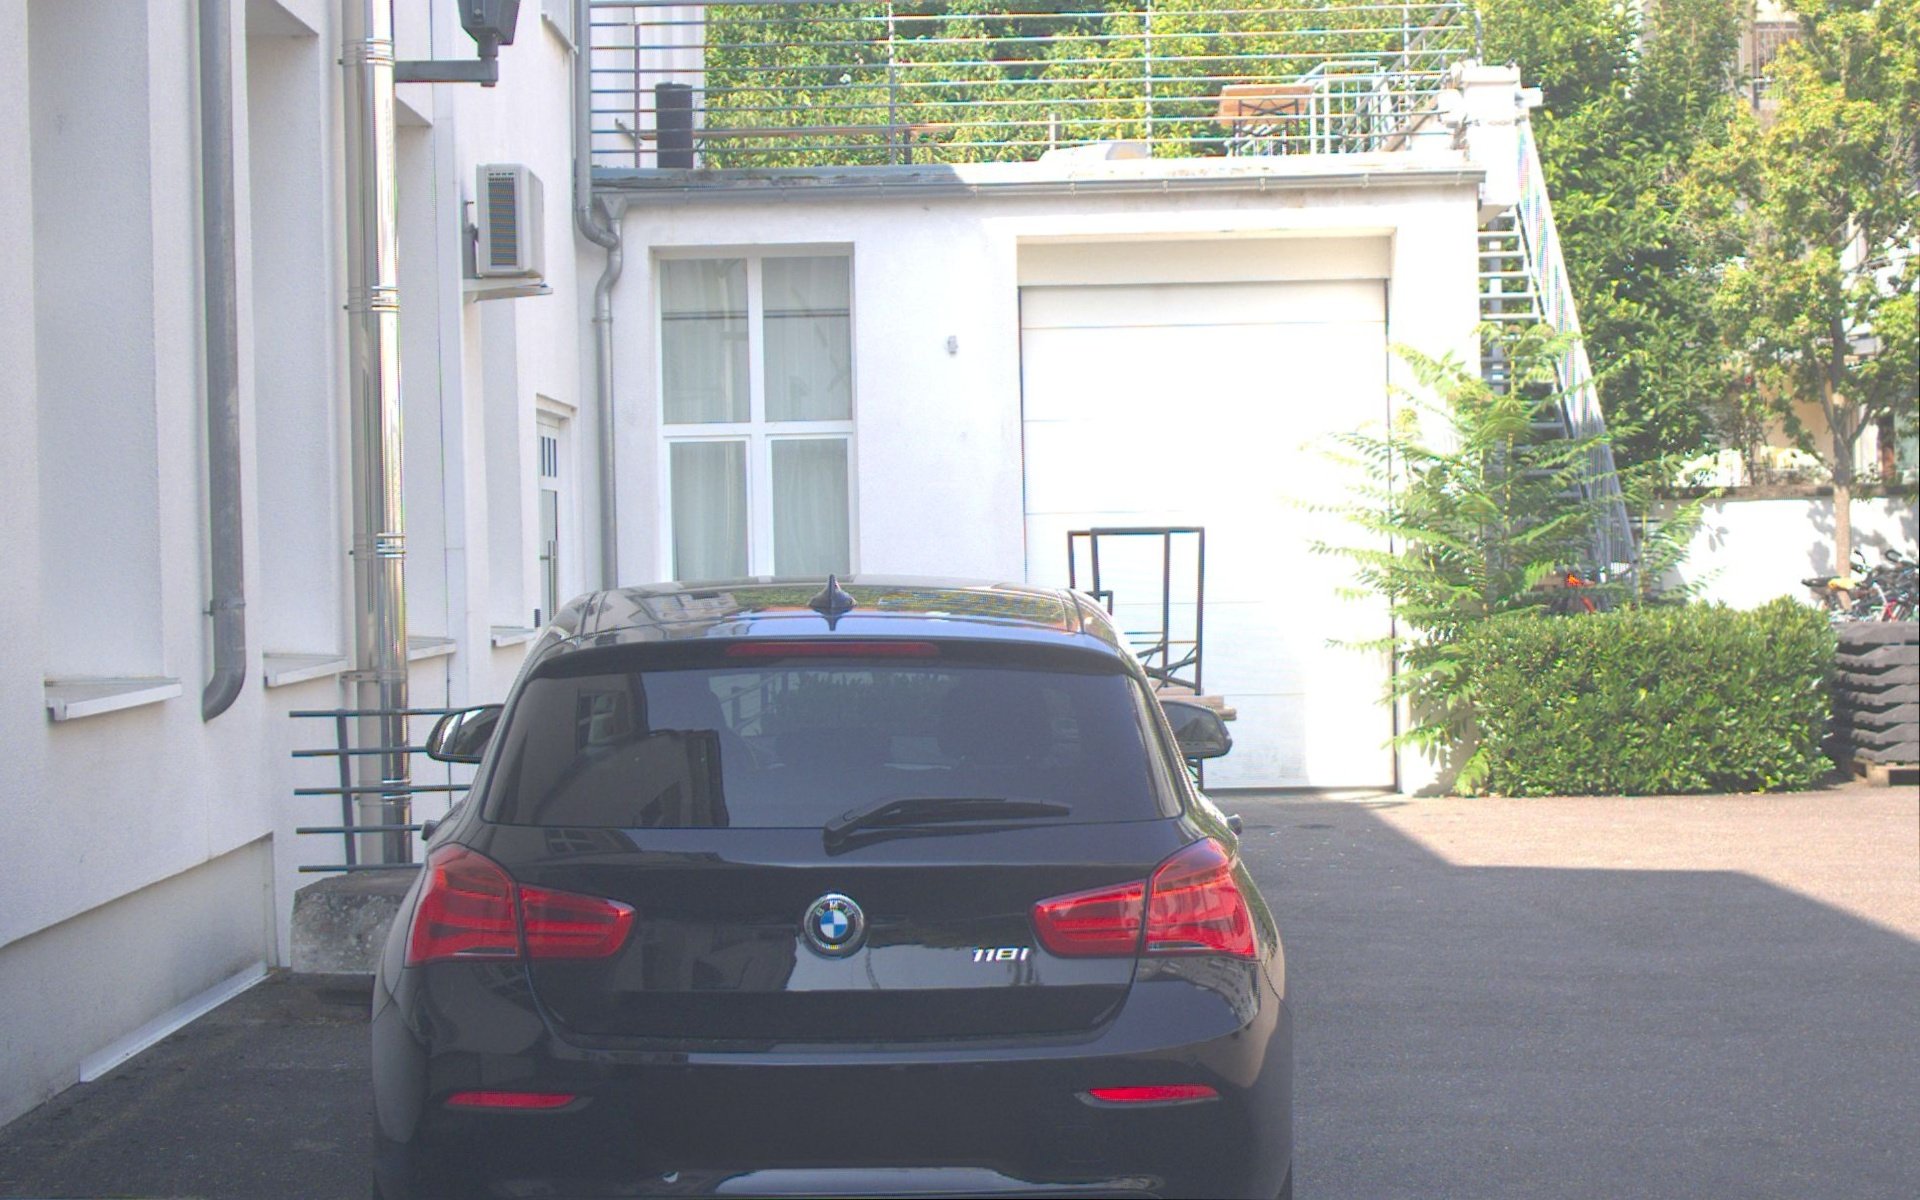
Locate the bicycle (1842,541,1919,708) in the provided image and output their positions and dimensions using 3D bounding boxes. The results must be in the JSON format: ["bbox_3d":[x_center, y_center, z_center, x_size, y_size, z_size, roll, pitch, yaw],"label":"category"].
[{"bbox_3d":[7.908,0.172,25.862,2.411,1.242,0.526,0,1,1],"label":"bicycle"}]

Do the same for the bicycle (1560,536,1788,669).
[{"bbox_3d":[6.638,0.018,31.999,1.987,1.140,0.490,-2,2,-3],"label":"bicycle"}]

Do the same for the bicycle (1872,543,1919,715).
[{"bbox_3d":[7.938,0.198,25.100,2.411,1.242,0.526,0,1,1],"label":"bicycle"}]

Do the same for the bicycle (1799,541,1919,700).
[{"bbox_3d":[7.897,0.151,27.158,2.411,1.242,0.526,0,1,1],"label":"bicycle"}]

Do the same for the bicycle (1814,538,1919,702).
[{"bbox_3d":[7.864,0.144,26.521,2.411,1.242,0.526,0,1,1],"label":"bicycle"}]

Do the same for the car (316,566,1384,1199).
[{"bbox_3d":[-0.264,0.664,7.870,1.792,1.423,4.137,0,1,-2],"label":"car"}]

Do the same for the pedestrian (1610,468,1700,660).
[{"bbox_3d":[6.508,-0.343,32.222,0.609,1.765,0.861,-1,1,-5],"label":"pedestrian"}]
